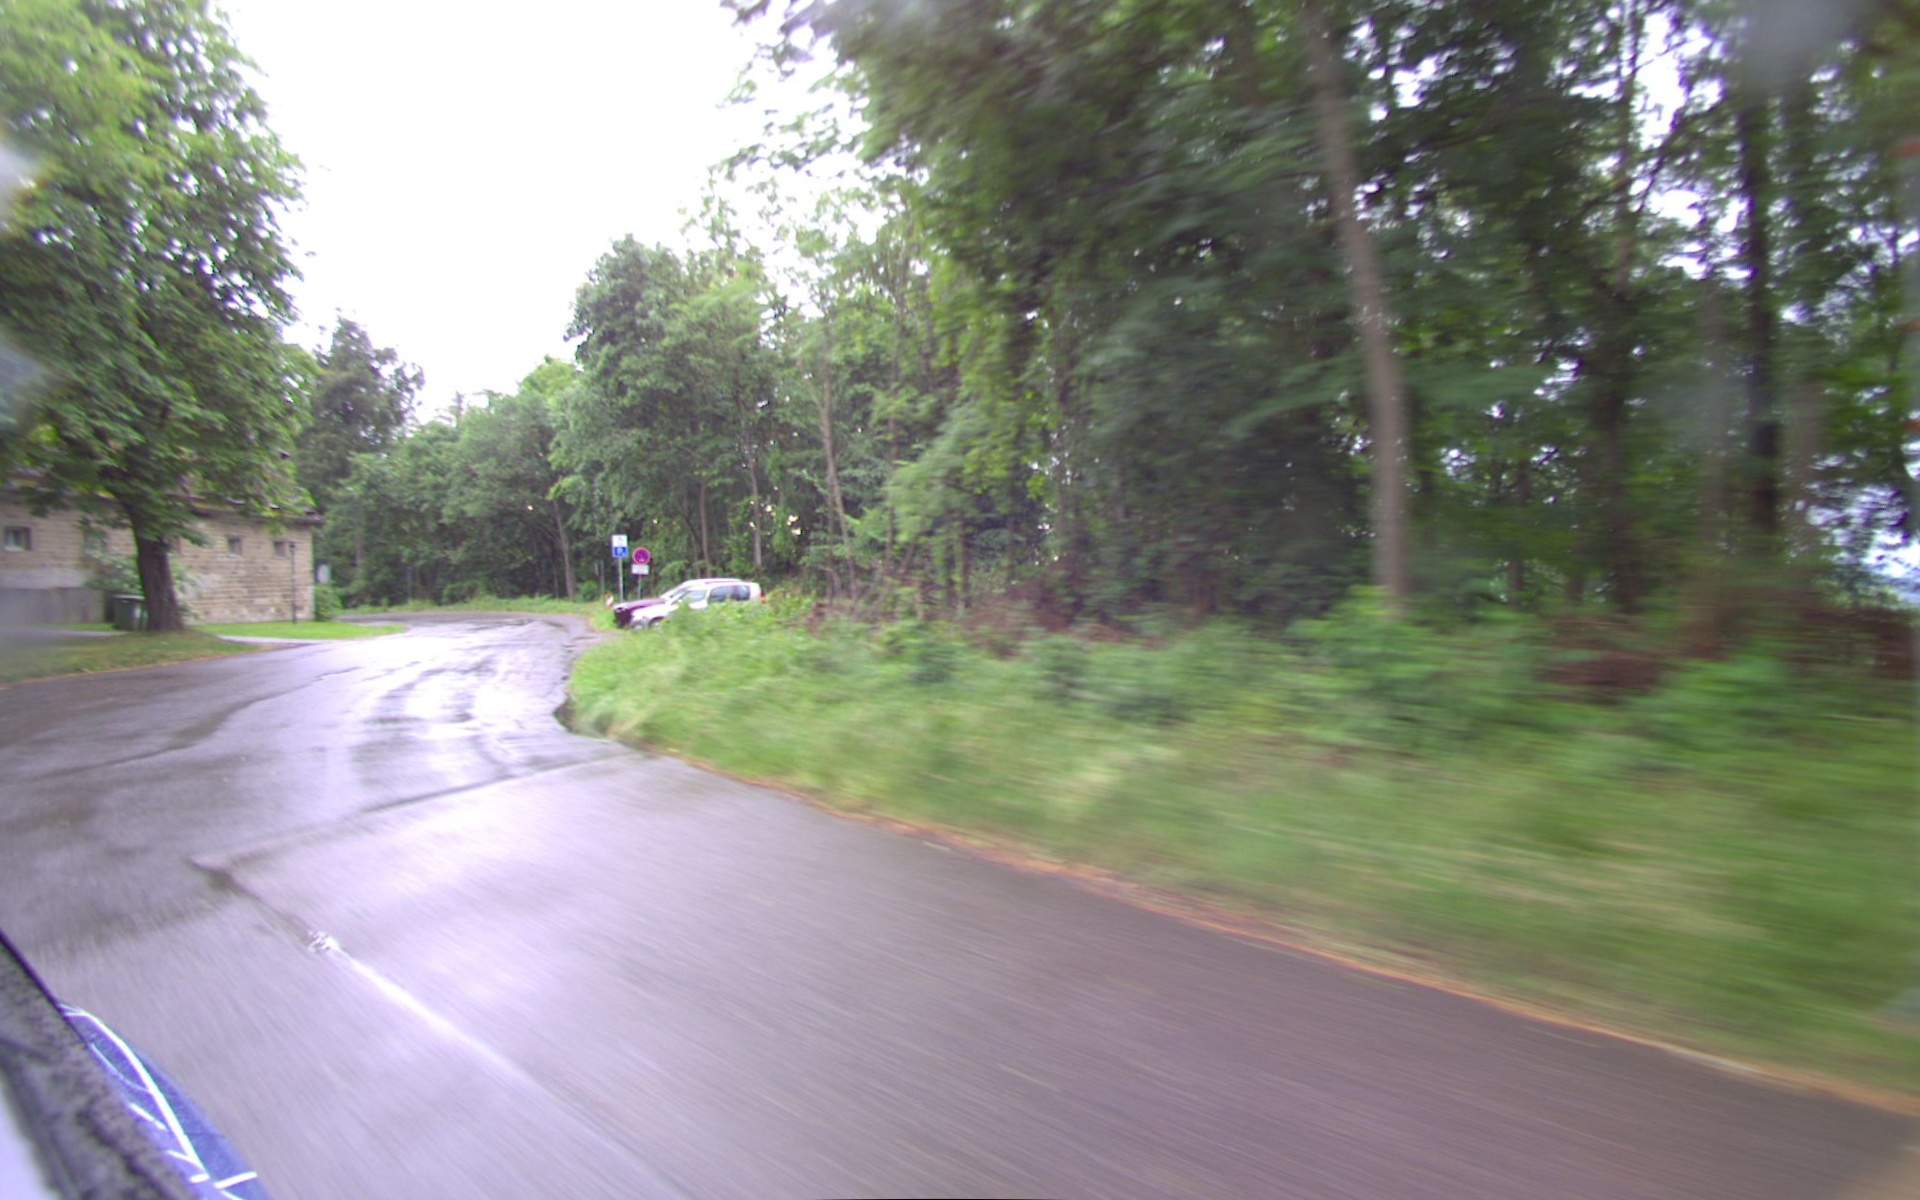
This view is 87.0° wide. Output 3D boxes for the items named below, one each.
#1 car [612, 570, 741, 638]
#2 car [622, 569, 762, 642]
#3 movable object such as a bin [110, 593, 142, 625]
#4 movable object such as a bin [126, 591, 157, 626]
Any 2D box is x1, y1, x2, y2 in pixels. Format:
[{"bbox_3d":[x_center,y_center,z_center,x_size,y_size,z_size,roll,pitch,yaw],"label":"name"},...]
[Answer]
[{"bbox_3d":[-9.371,0.171,33.597,3.932,2.029,2.006,2,-2,-15],"label":"car"},{"bbox_3d":[-8.167,0.197,30.988,3.932,2.029,2.006,2,-2,-15],"label":"car"},{"bbox_3d":[-25.102,0.268,30.455,0.622,0.961,0.763,0,0,-30],"label":"movable object such as a bin"},{"bbox_3d":[-25.317,0.260,31.313,0.622,1.082,0.763,0,0,-30],"label":"movable object such as a bin"}]
